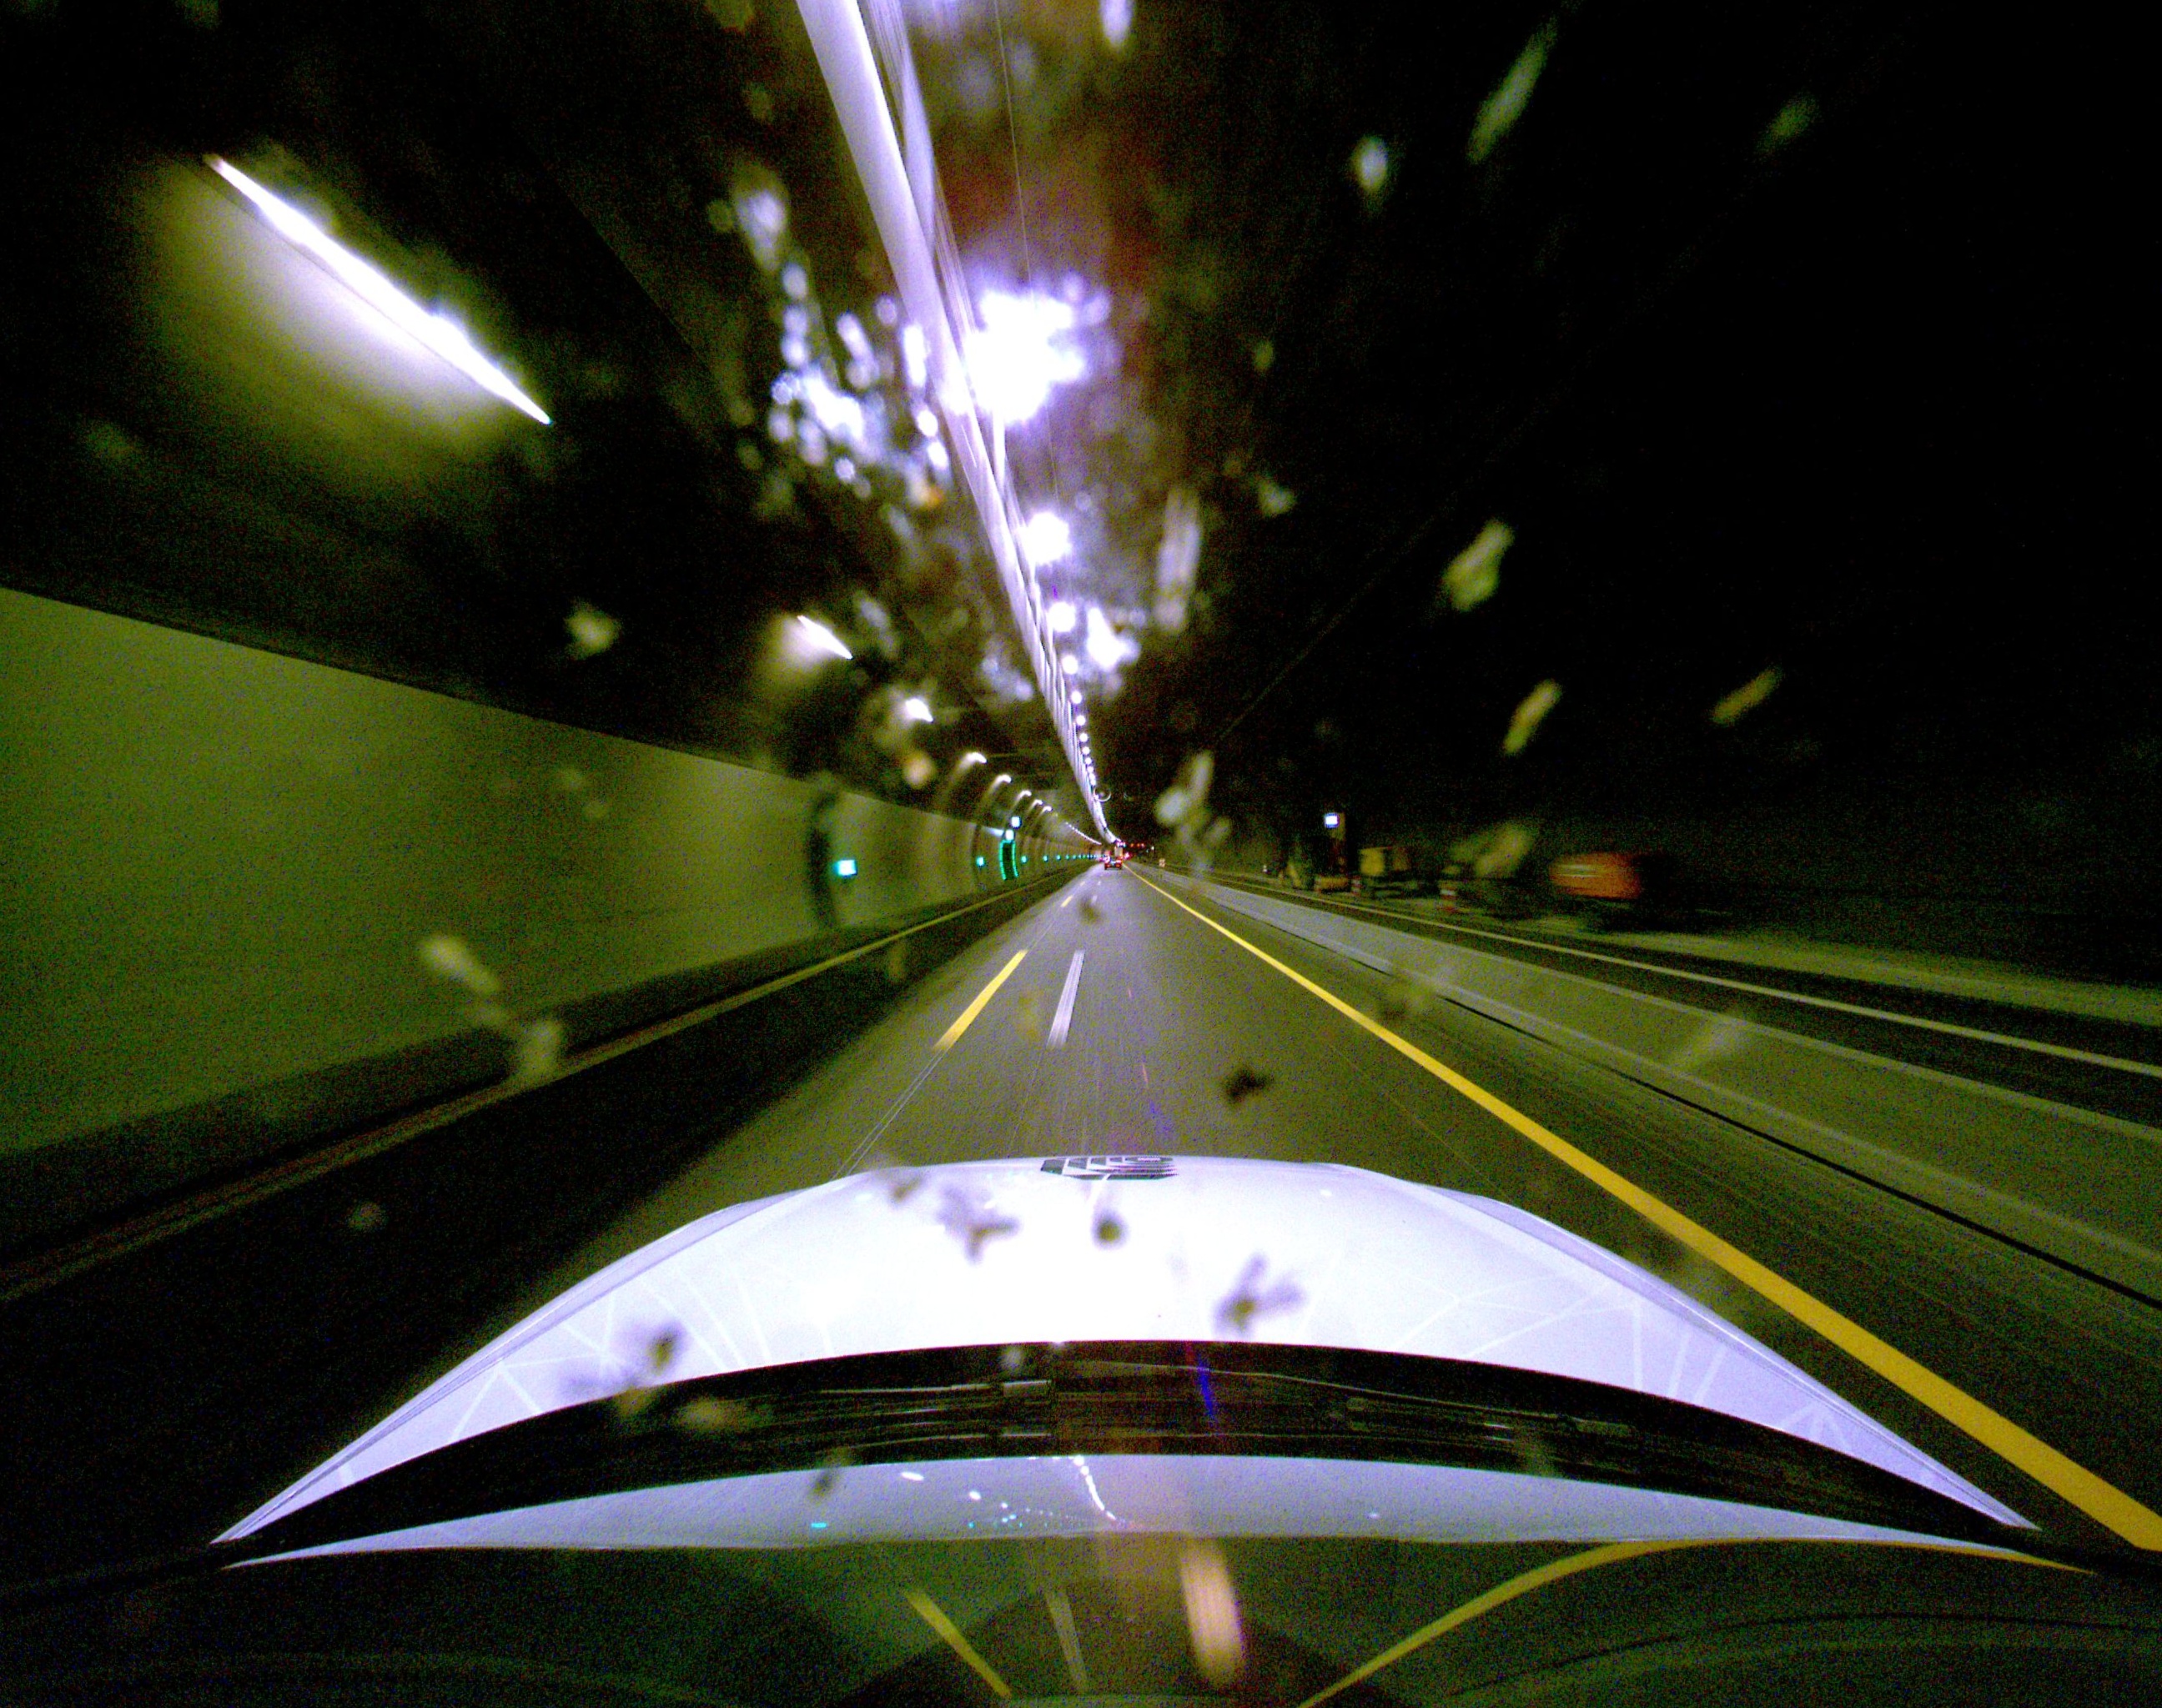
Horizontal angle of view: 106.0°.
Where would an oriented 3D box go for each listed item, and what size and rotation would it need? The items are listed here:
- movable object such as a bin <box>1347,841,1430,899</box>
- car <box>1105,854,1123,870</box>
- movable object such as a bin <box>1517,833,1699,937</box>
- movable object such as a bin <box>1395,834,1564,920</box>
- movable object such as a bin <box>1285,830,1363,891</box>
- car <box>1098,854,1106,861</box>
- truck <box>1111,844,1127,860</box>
[{"bbox_3d":[9.707,0.480,25.906,1.550,1.709,3.056,-1,-1,1],"label":"movable object such as a bin"},{"bbox_3d":[3.505,0.835,87.076,1.881,1.607,4.001,-1,-1,1],"label":"car"},{"bbox_3d":[9.441,0.500,14.858,1.298,1.593,3.056,-5,0,1],"label":"movable object such as a bin"},{"bbox_3d":[9.409,0.476,19.684,1.854,1.675,4.503,-5,0,1],"label":"movable object such as a bin"},{"bbox_3d":[9.252,0.266,31.359,1.677,2.145,4.629,-1,-1,1],"label":"movable object such as a bin"},{"bbox_3d":[5.105,0.839,199.504,1.820,1.607,4.001,-1,-1,1],"label":"car"},{"bbox_3d":[12.231,-0.727,261.395,4.525,4.987,9.609,-1,-1,4],"label":"truck"}]
